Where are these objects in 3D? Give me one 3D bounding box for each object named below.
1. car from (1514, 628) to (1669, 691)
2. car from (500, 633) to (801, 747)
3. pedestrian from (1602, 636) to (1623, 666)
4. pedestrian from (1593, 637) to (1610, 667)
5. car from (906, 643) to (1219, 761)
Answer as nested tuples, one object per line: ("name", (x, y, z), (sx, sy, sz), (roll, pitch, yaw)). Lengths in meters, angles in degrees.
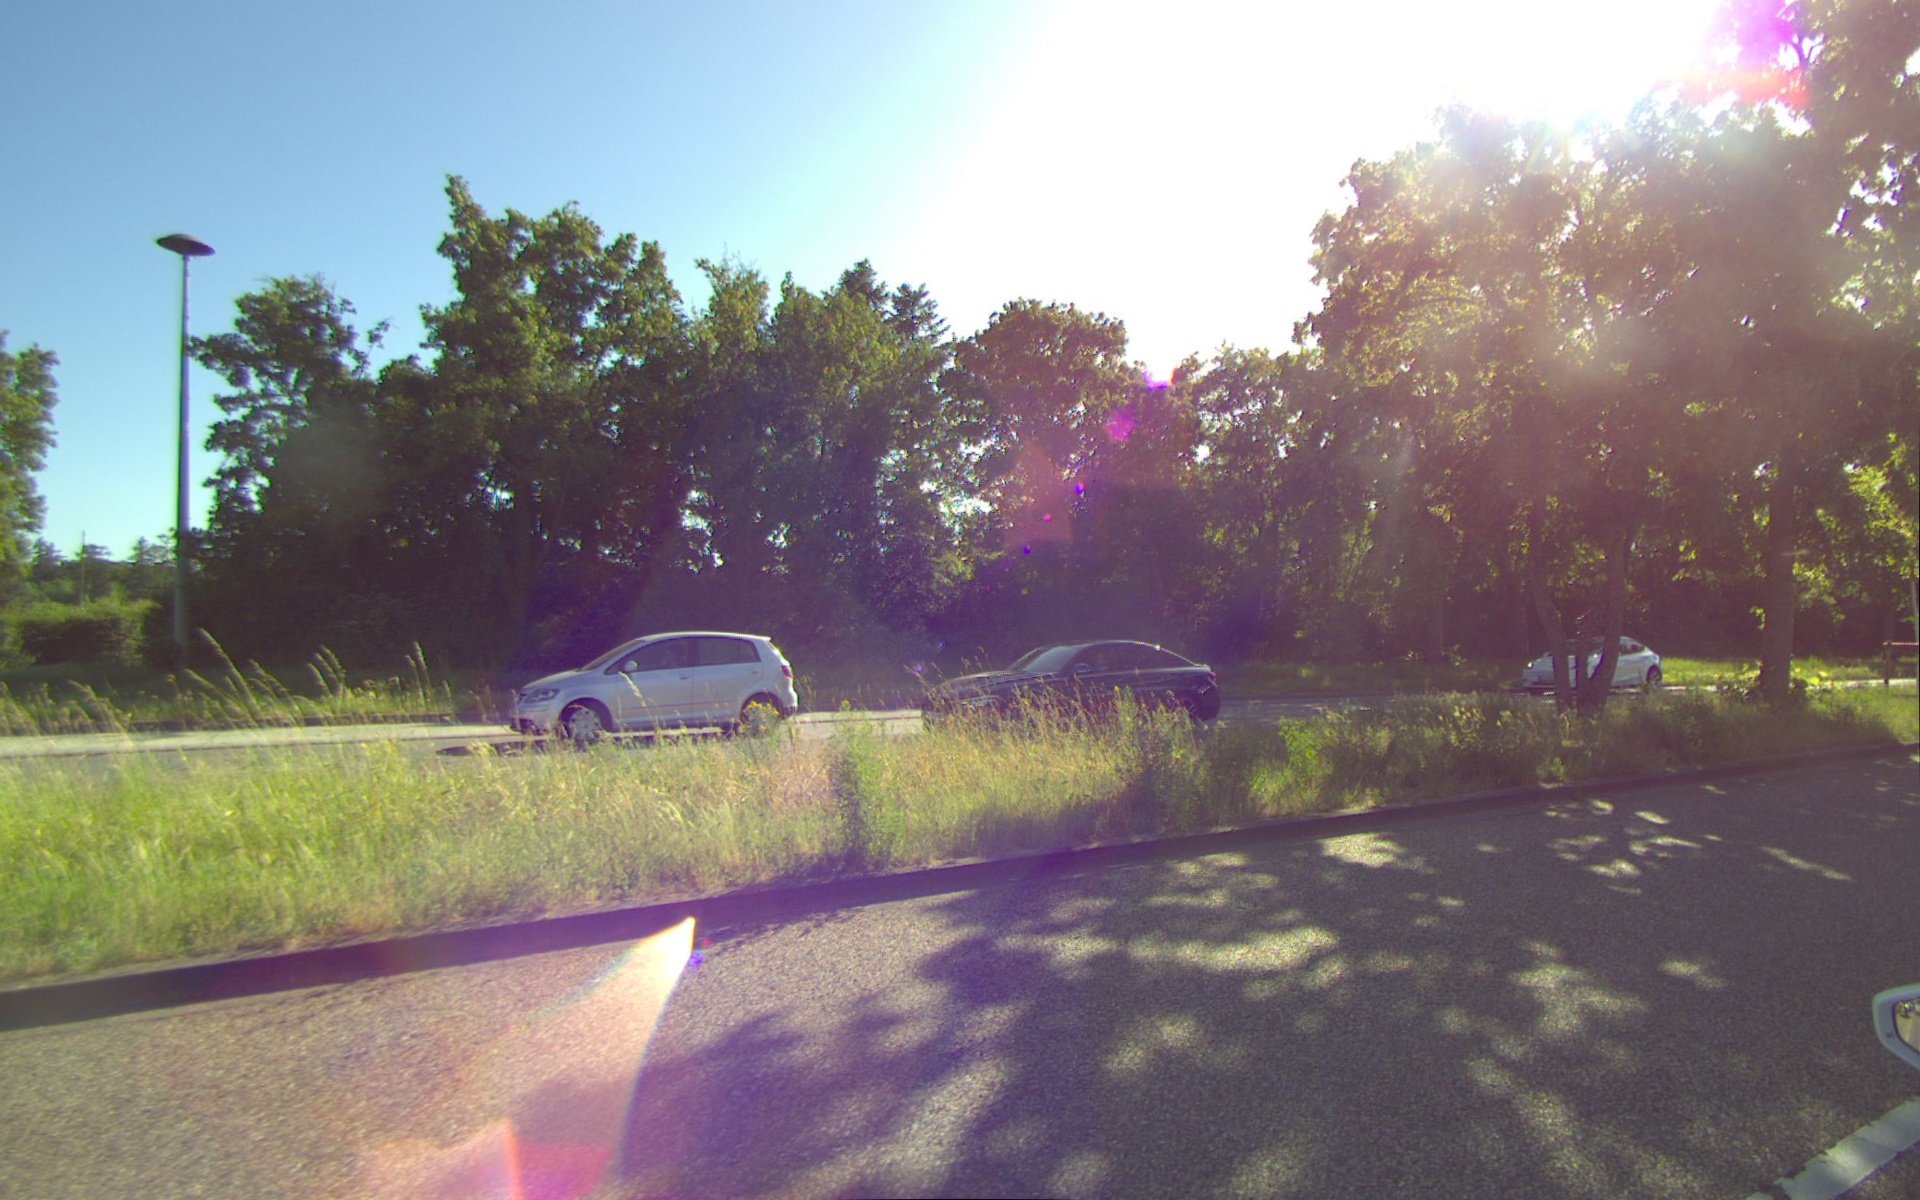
("car", (18.043, 1.684, 28.647), (4.534, 1.609, 1.831), (1, -7, -32))
("car", (-4.556, 1.258, 14.966), (4.017, 1.491, 1.704), (1, -3, -31))
("pedestrian", (32.611, 2.555, 50.200), (0.906, 1.479, 0.542), (1, -2, -30))
("pedestrian", (32.310, 2.603, 50.592), (0.589, 1.479, 0.542), (1, -2, -30))
("car", (1.488, 1.321, 14.076), (4.200, 1.413, 1.694), (1, -2, -30))
